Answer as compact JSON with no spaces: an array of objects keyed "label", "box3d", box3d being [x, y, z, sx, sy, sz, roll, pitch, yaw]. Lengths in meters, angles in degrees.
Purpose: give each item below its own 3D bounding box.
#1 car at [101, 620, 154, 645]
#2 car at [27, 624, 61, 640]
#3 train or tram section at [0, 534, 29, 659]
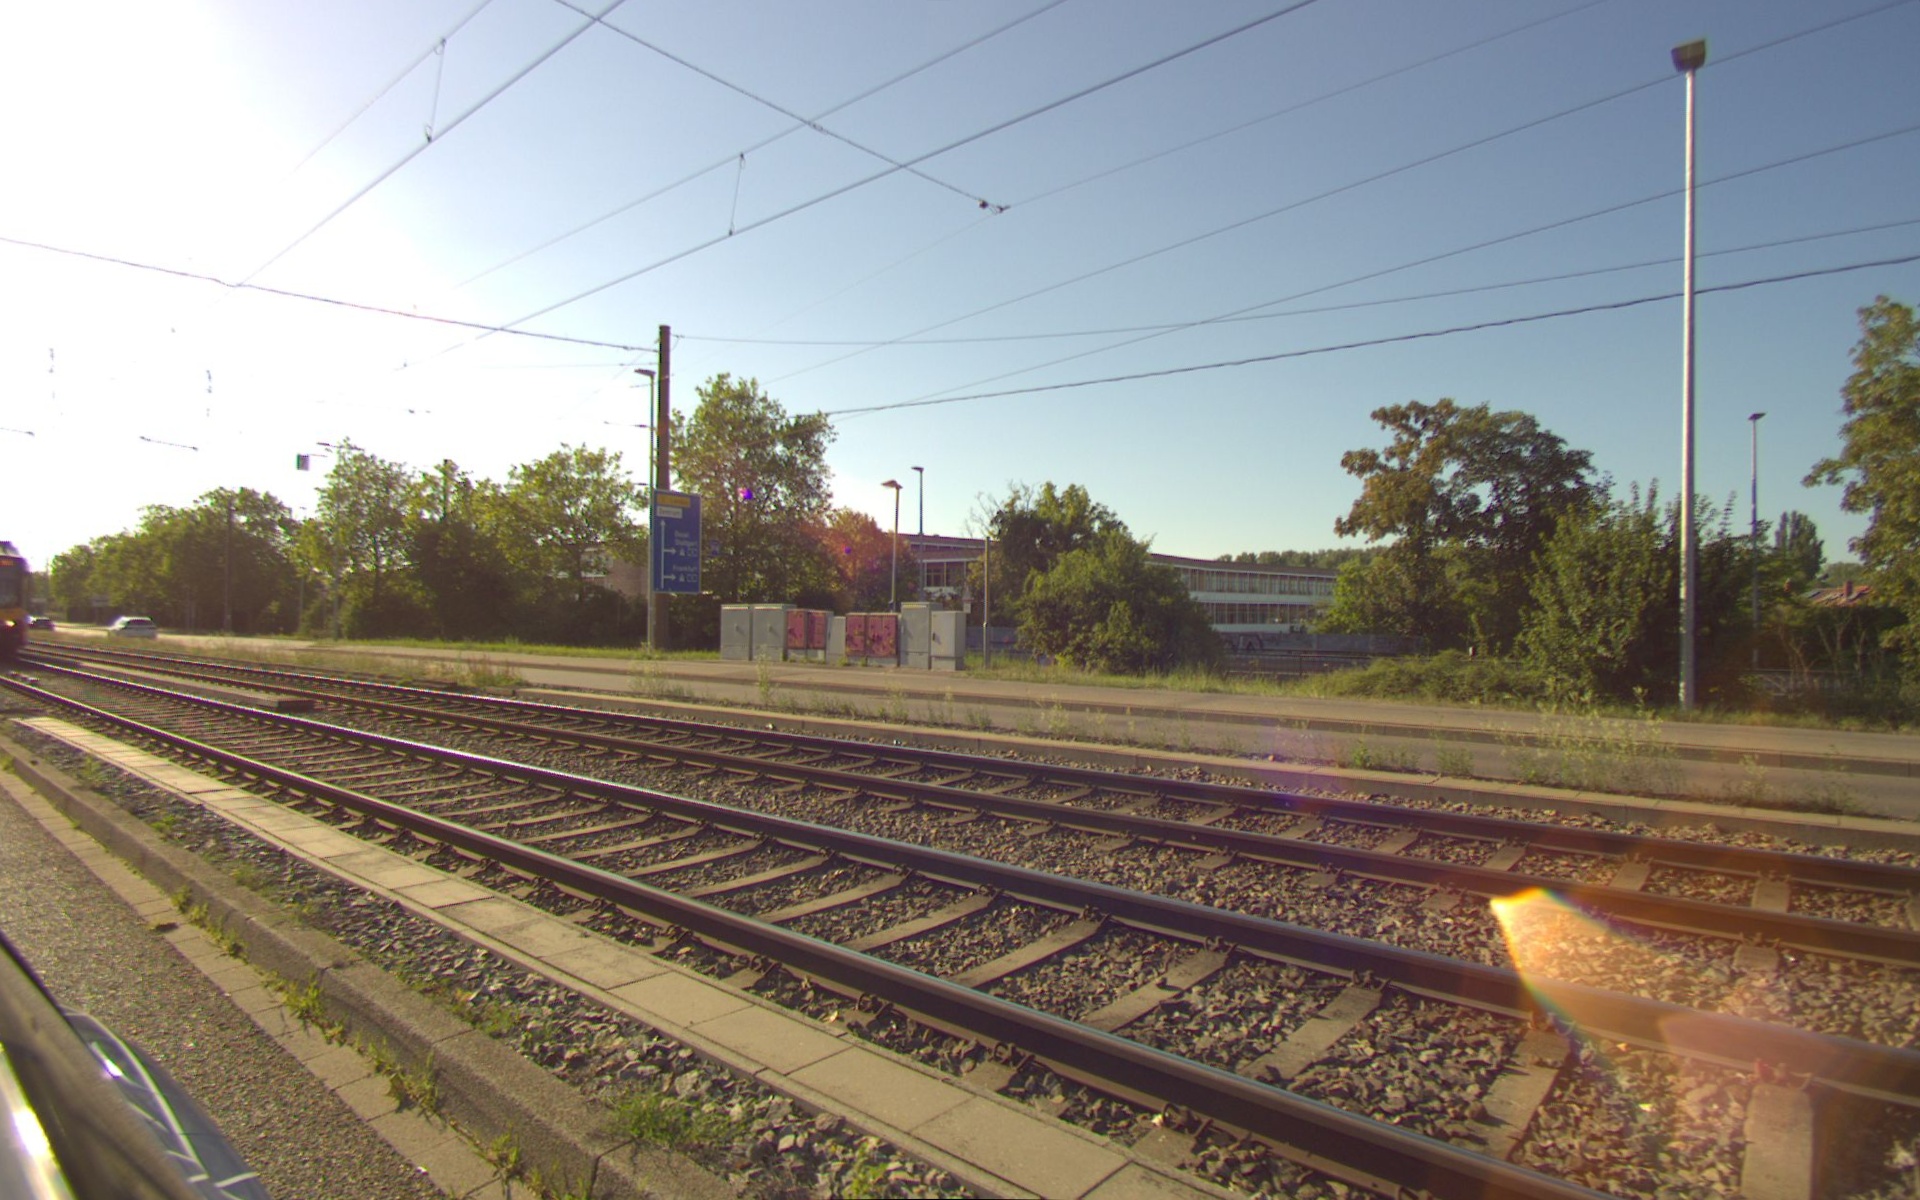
[{"label":"car","box3d":[-48.639,1.873,59.106,3.998,1.363,1.778,-1,0,41]},{"label":"car","box3d":[-81.388,2.810,89.887,3.998,1.363,1.778,-1,0,41]},{"label":"train or tram section","box3d":[-34.997,-0.015,35.158,11.664,3.930,2.536,-1,-2,41]}]
